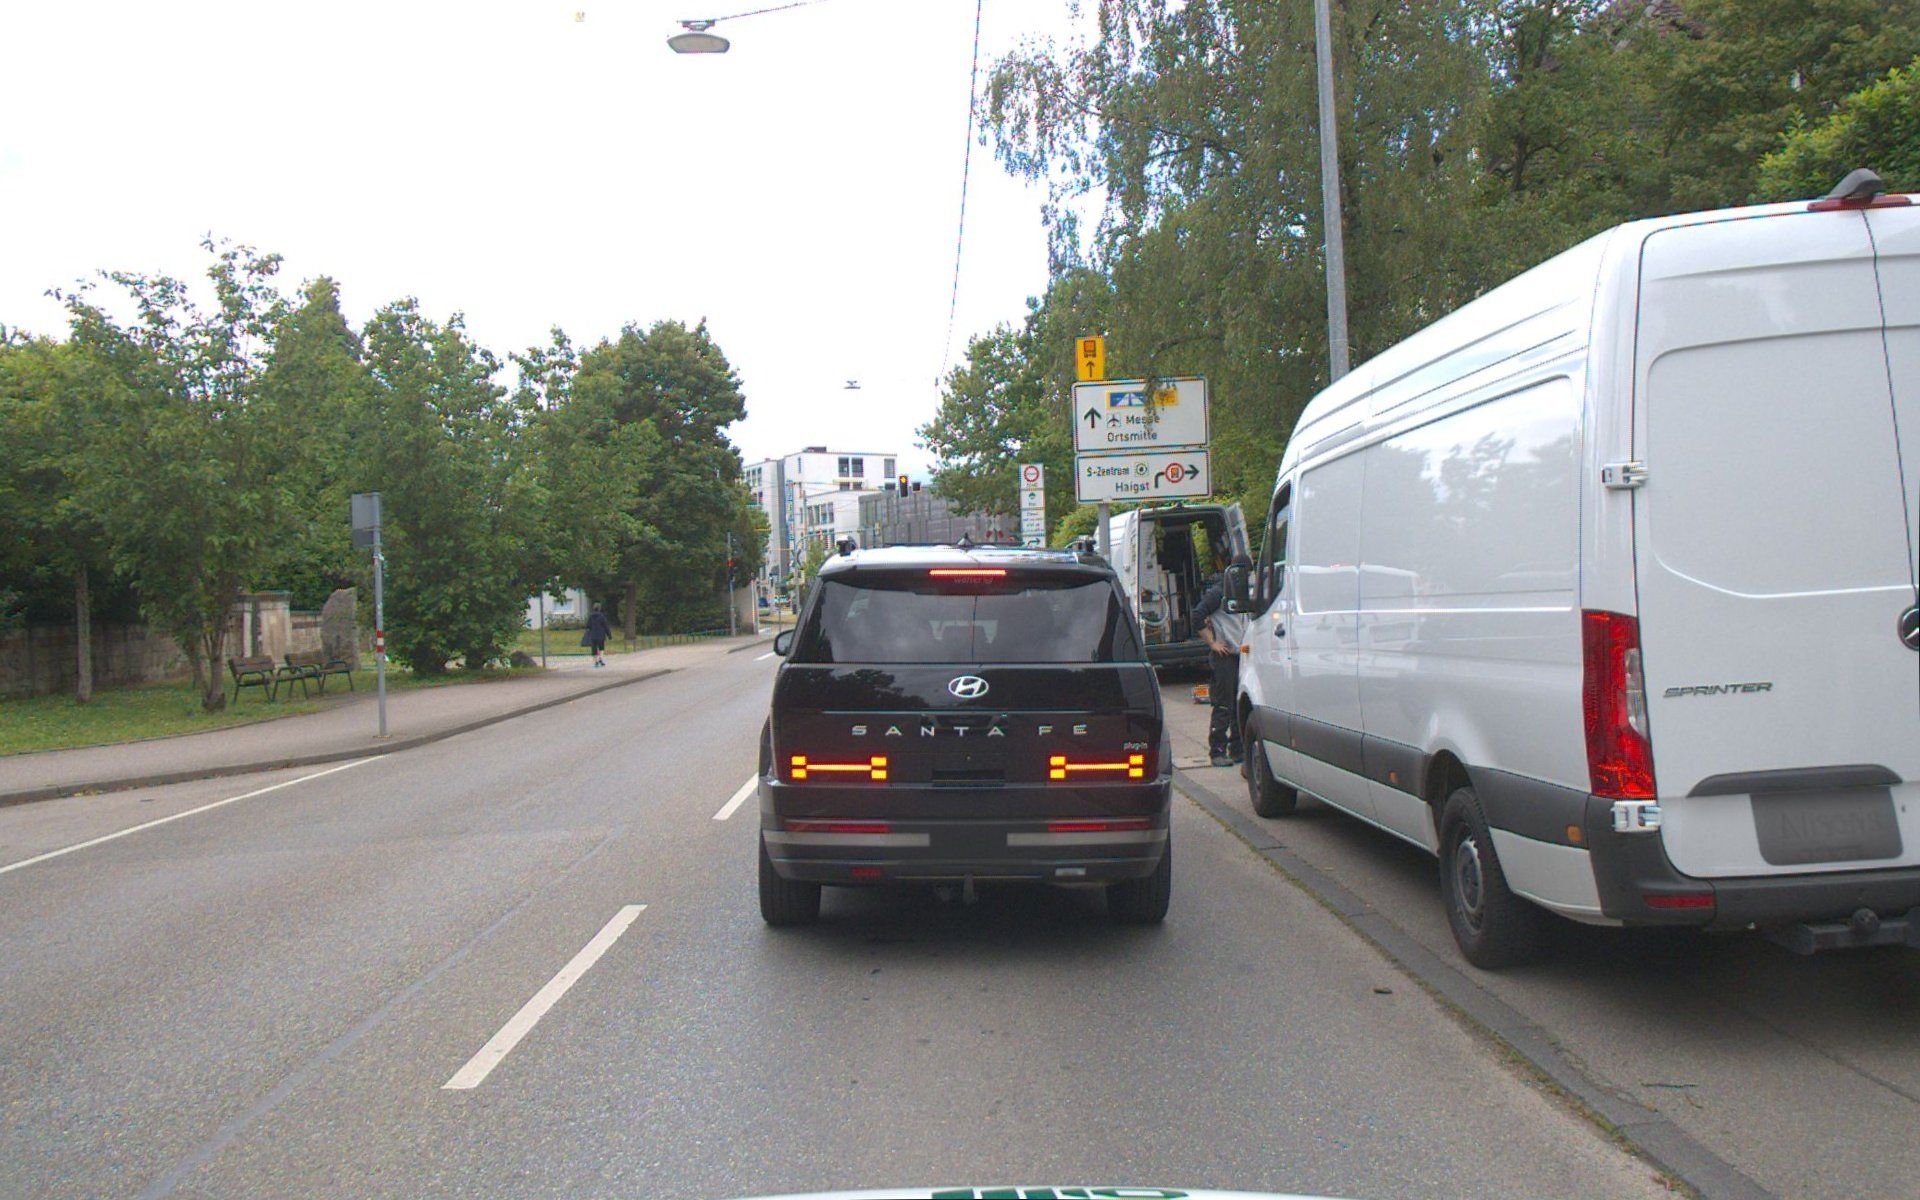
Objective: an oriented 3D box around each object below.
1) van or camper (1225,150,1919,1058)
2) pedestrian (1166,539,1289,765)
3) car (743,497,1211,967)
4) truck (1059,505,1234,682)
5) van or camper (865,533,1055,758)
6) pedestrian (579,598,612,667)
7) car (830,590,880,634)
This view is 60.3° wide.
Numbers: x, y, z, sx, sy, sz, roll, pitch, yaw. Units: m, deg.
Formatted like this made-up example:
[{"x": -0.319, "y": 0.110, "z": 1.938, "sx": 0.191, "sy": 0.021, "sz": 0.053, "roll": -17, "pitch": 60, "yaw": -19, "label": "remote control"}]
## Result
[{"x": 2.892, "y": -0.017, "z": 8.186, "sx": 1.953, "sy": 2.665, "sz": 6.540, "roll": -2, "pitch": 0, "yaw": -1, "label": "van or camper"}, {"x": 2.247, "y": 0.428, "z": 13.974, "sx": 0.852, "sy": 1.828, "sz": 0.759, "roll": -2, "pitch": 0, "yaw": -2, "label": "pedestrian"}, {"x": 0.040, "y": 0.514, "z": 8.547, "sx": 1.851, "sy": 1.851, "sz": 3.999, "roll": 0, "pitch": 0, "yaw": -1, "label": "car"}, {"x": 3.031, "y": -0.093, "z": 28.006, "sx": 1.904, "sy": 2.606, "sz": 5.212, "roll": -3, "pitch": 0, "yaw": -4, "label": "truck"}, {"x": -0.031, "y": 0.420, "z": 17.490, "sx": 1.719, "sy": 2.049, "sz": 3.999, "roll": -2, "pitch": 0, "yaw": -1, "label": "van or camper"}, {"x": -9.403, "y": 0.835, "z": 42.730, "sx": 0.724, "sy": 1.745, "sz": 0.791, "roll": -2, "pitch": 0, "yaw": -8, "label": "pedestrian"}, {"x": -4.504, "y": 0.499, "z": 71.284, "sx": 1.822, "sy": 1.686, "sz": 4.305, "roll": -4, "pitch": 0, "yaw": -1, "label": "car"}]
